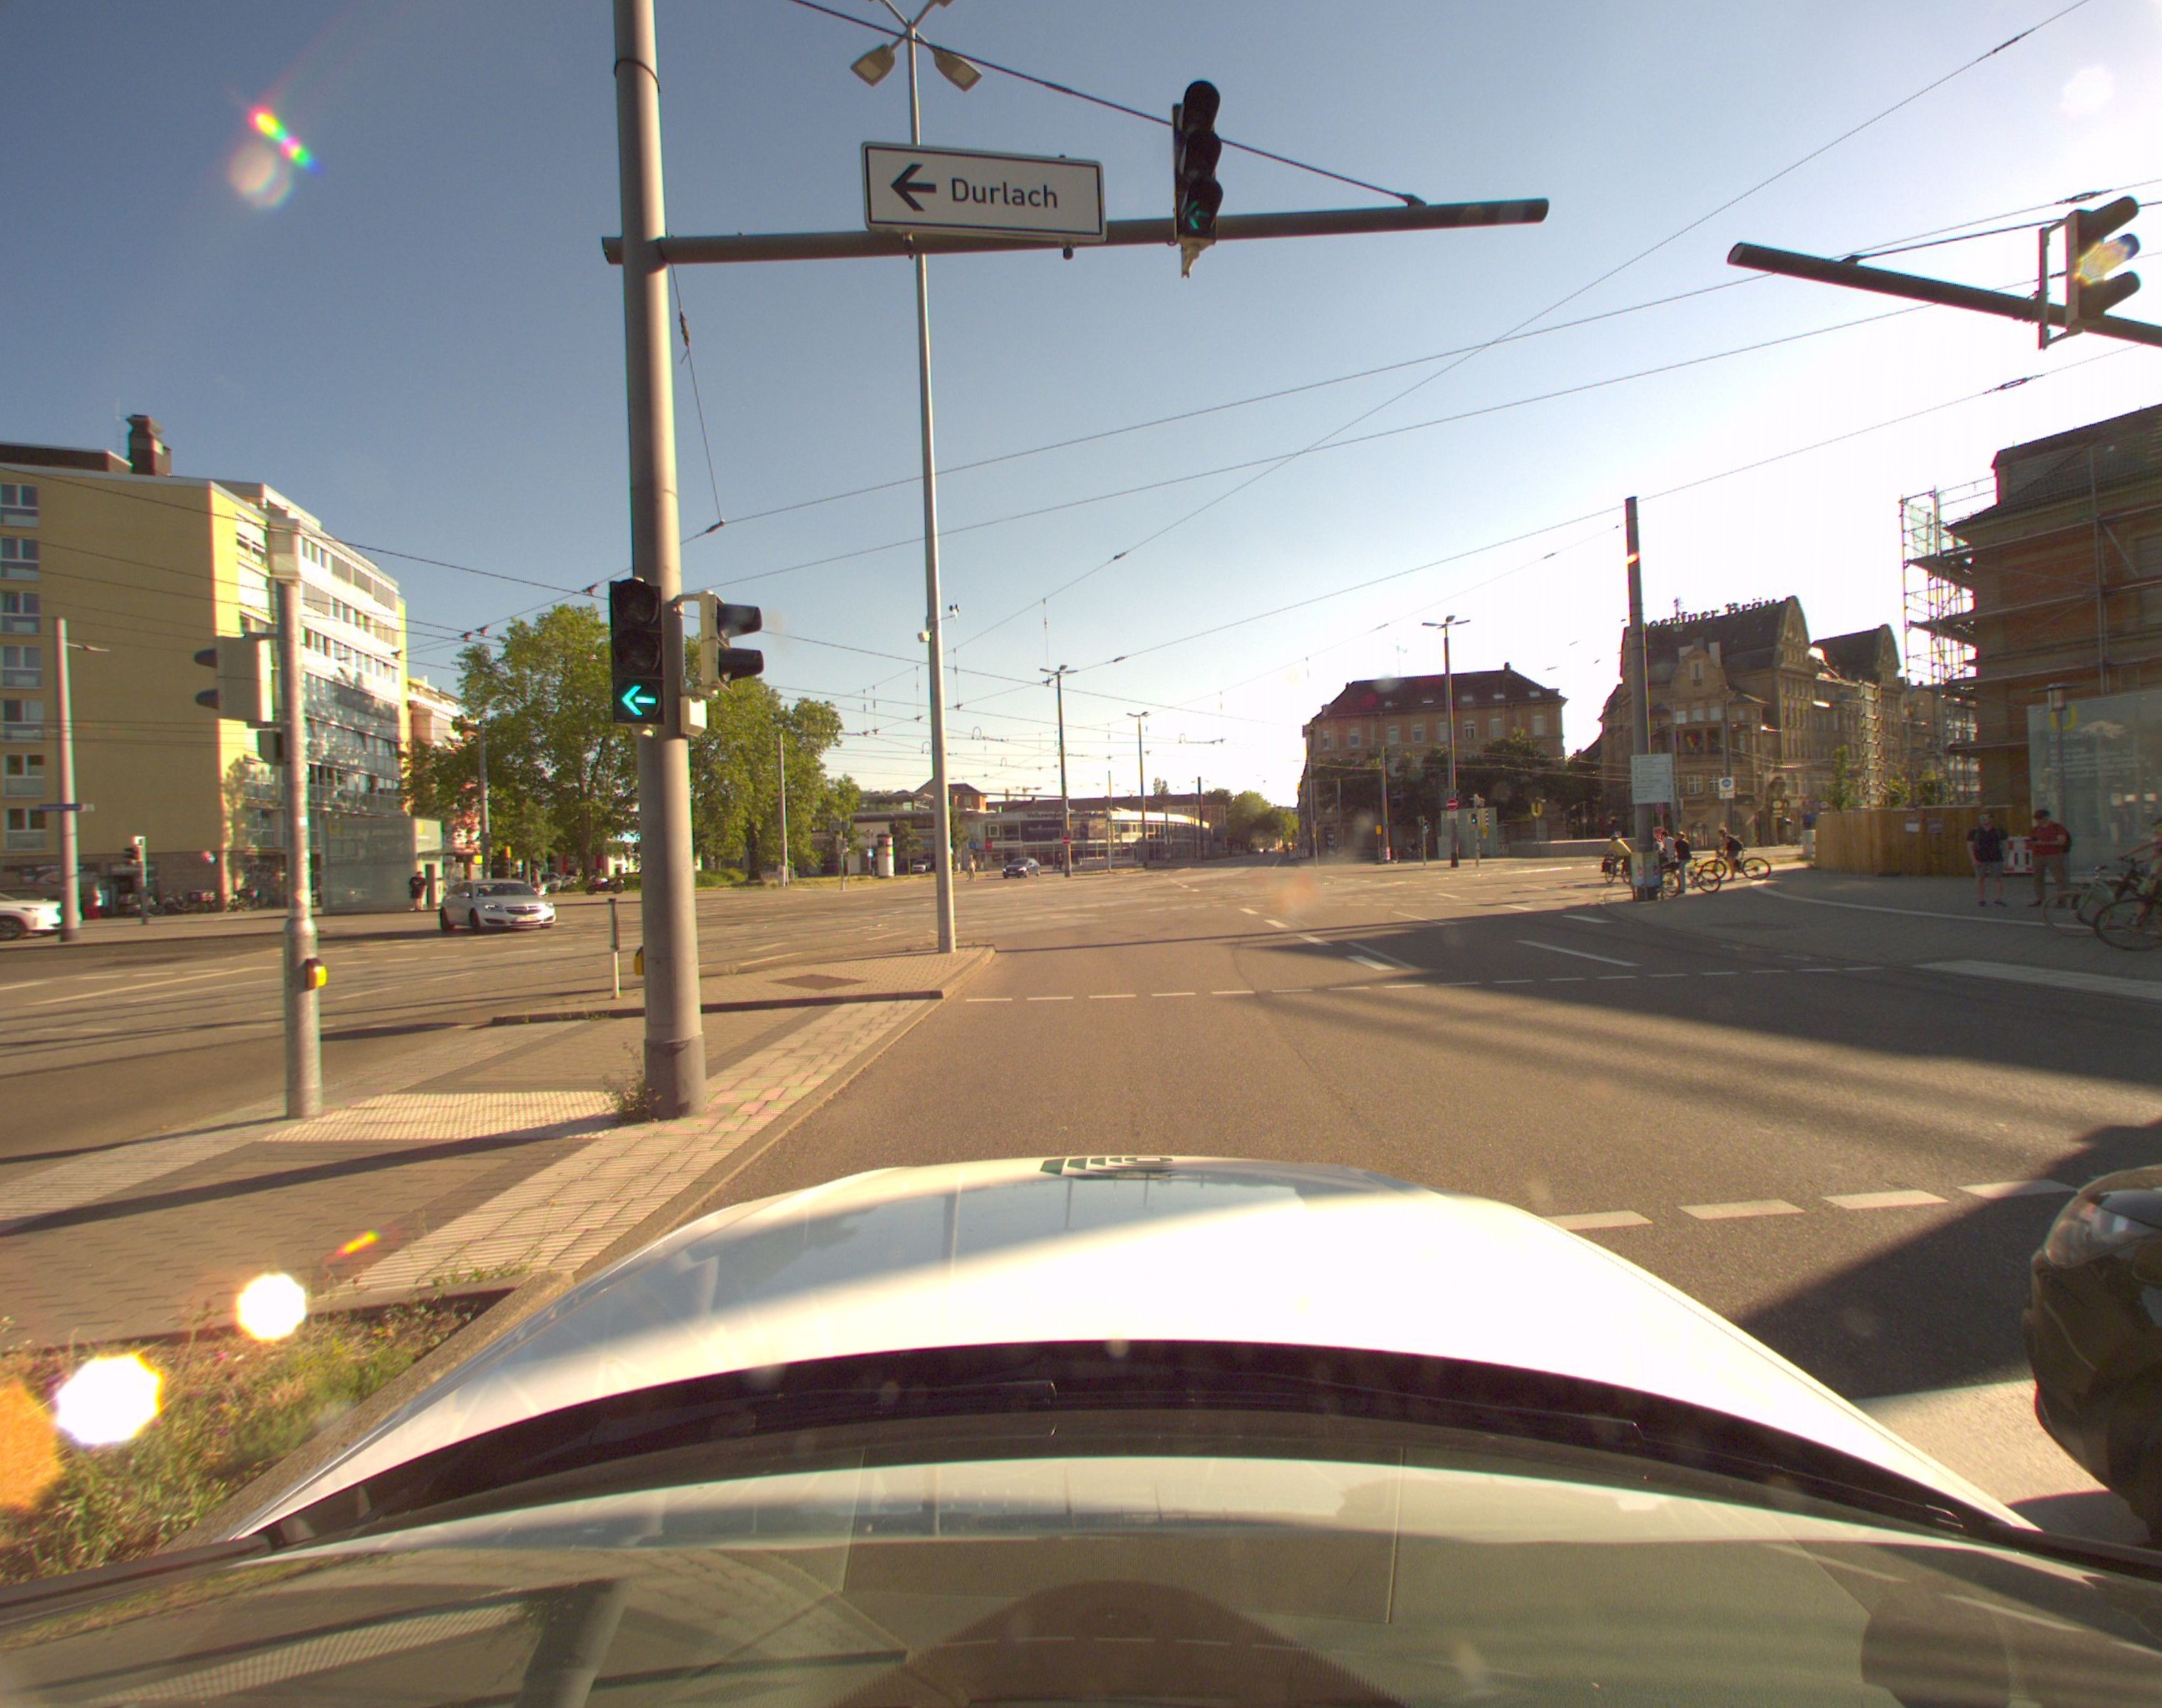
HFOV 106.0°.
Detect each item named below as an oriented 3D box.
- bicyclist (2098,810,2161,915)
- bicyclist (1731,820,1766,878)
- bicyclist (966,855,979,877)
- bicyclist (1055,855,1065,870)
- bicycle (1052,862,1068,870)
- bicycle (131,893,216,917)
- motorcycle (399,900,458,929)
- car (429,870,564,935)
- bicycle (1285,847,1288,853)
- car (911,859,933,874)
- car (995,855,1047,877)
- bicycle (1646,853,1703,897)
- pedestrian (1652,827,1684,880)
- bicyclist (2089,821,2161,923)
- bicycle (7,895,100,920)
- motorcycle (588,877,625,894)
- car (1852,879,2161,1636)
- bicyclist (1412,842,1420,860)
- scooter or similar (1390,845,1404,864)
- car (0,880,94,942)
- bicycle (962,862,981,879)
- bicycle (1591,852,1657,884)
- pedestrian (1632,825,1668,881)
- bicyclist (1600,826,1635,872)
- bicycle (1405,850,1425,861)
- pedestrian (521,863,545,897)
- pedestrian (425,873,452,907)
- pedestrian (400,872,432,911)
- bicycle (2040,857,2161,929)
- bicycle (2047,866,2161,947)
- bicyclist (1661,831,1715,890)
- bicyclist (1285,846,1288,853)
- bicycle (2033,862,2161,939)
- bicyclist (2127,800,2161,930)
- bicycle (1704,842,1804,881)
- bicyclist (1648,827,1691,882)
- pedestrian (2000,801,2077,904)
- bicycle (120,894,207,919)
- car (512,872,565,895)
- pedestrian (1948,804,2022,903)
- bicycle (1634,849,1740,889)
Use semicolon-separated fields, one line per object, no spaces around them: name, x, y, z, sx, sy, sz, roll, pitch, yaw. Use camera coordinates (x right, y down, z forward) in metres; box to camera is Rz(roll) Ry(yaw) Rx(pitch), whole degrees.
bicyclist;15.153;0.123;11.630;0.619;1.454;0.667;0;-1;-28
bicyclist;20.900;-0.158;25.512;0.785;1.779;0.526;-1;-1;36
bicyclist;-7.815;0.879;58.775;0.593;1.615;0.826;-1;-1;18
bicyclist;-2.241;0.929;86.343;0.647;1.572;0.928;-1;-1;30
bicycle;-2.211;1.285;86.341;0.632;0.870;2.249;-1;-1;31
bicycle;-47.030;2.636;42.243;3.042;1.151;0.637;0;-1;-17
motorcycle;-43.290;4.018;54.072;2.678;1.770;1.350;0;-1;-15
car;-16.657;1.306;23.128;4.659;1.662;1.797;-1;-1;37
bicycle;35.522;-0.667;140.594;0.407;0.941;1.852;-1;-1;14
car;-19.183;1.493;98.333;1.988;1.750;3.996;0;-1;-2
car;-4.382;0.890;60.363;1.975;1.585;4.024;-1;-1;28
bicycle;15.520;0.526;21.361;0.692;1.049;2.333;0;1;23
pedestrian;21.664;-0.030;30.050;0.646;1.922;0.689;0;-1;-6
bicyclist;14.204;0.233;10.886;0.614;1.315;0.672;0;-1;-4
bicycle;-50.984;2.645;40.433;3.042;1.151;0.637;0;-1;-17
motorcycle;-27.972;1.849;48.018;1.779;0.914;0.674;0;-1;-20
car;2.807;0.743;0.133;1.618;1.404;4.000;0;-1;1
bicyclist;30.991;-0.258;75.362;0.511;1.700;0.521;-1;-1;8
scooter or similar;23.911;0.035;61.713;0.780;1.376;1.916;-1;-1;15
car;-34.072;1.816;24.671;4.912;1.824;1.986;-2;-1;-20
bicycle;-7.867;1.165;58.605;0.607;1.189;1.878;-1;-1;19
bicycle;18.805;0.470;28.270;0.534;1.049;2.315;0;1;-7
pedestrian;20.936;-0.028;29.966;0.730;2.014;0.760;0;-1;-6
bicyclist;18.765;-0.168;28.493;0.514;1.557;0.945;0;-1;-7
bicycle;30.939;0.138;75.362;1.586;0.952;0.661;-1;-1;7
pedestrian;-30.739;1.478;45.712;0.790;1.886;0.760;-1;-1;8
pedestrian;-32.825;1.831;41.619;0.790;1.706;0.760;-1;-1;8
pedestrian;-29.511;1.644;36.137;0.790;1.706;0.760;-1;-1;8
bicycle;15.218;0.539;11.518;0.661;0.963;2.018;-4;1;-26
bicycle;13.246;0.634;9.838;0.657;0.963;2.032;0;-1;-4
bicyclist;16.636;0.178;22.346;0.711;1.557;0.940;0;-1;-23
bicyclist;35.477;-0.760;140.500;0.405;1.116;0.400;-1;-1;12
bicycle;14.222;0.602;10.815;0.657;0.963;2.032;-4;-1;-4
bicyclist;13.259;0.130;9.659;0.664;1.553;0.793;0;-1;-4
bicycle;20.984;0.236;25.459;2.290;1.049;0.539;-5;-1;35
bicyclist;15.601;0.021;21.597;0.702;1.439;0.952;-1;-1;23
pedestrian;17.268;-0.019;14.694;0.672;1.807;0.680;0;-1;-20
bicycle;-46.818;2.669;41.582;3.042;1.151;0.637;0;-1;-17
car;-38.135;2.046;57.368;1.772;1.567;3.982;0;-1;-13
pedestrian;17.057;-0.008;15.369;0.672;1.807;0.680;-3;0;-20
bicycle;16.611;0.408;22.414;0.701;1.049;2.303;0;-1;-22
